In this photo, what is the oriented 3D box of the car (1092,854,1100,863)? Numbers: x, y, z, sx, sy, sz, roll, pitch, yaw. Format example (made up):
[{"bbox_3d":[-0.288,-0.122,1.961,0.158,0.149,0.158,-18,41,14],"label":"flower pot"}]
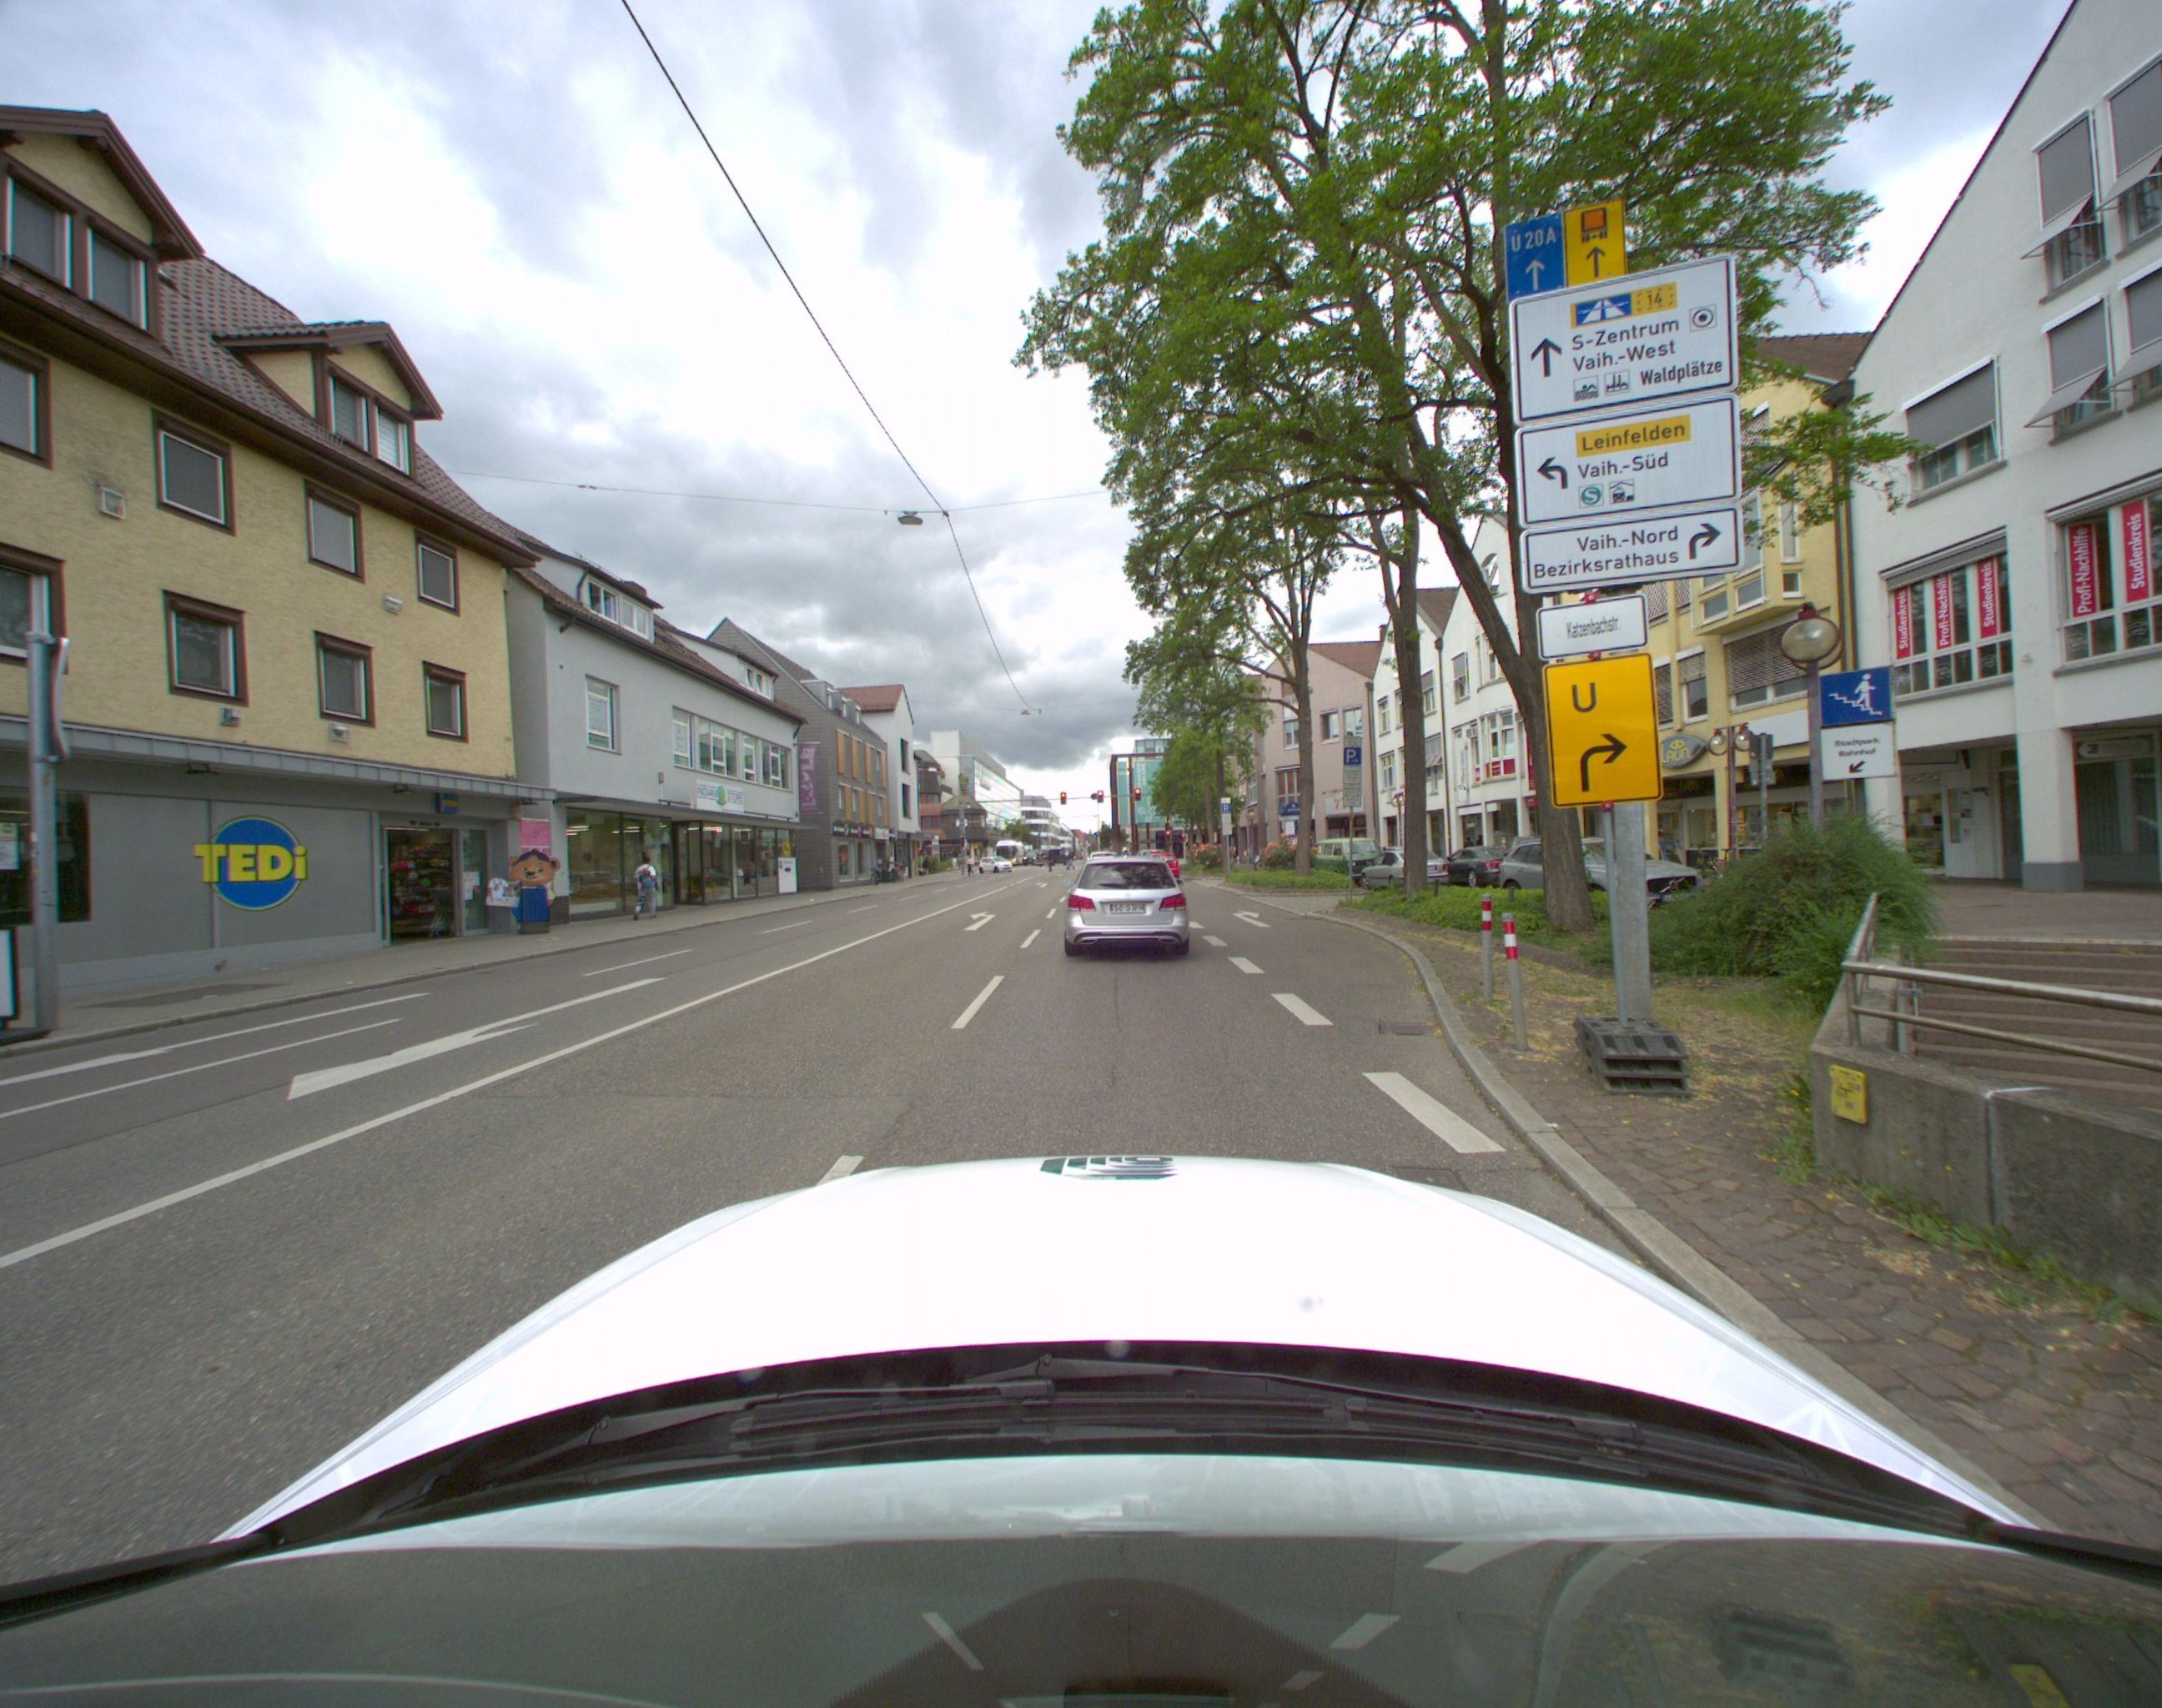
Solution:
[{"bbox_3d":[3.593,0.984,194.494,1.986,2.013,4.001,-2,0,1],"label":"car"}]

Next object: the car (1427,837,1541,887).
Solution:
[{"bbox_3d":[13.714,0.261,27.972,1.861,1.527,3.998,-2,0,-1],"label":"car"}]

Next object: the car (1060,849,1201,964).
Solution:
[{"bbox_3d":[0.663,0.711,13.048,1.868,1.506,3.999,-2,0,-1],"label":"car"}]

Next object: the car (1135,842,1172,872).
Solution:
[{"bbox_3d":[4.382,0.160,49.959,1.986,1.684,4.002,-2,0,2],"label":"car"}]

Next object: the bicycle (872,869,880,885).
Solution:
[{"bbox_3d":[-11.774,1.327,46.788,0.273,0.891,1.225,-2,0,-8],"label":"bicycle"}]

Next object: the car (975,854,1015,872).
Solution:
[{"bbox_3d":[-7.806,0.847,73.675,1.675,1.530,3.952,-2,0,-41],"label":"car"}]

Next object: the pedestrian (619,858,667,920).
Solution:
[{"bbox_3d":[-11.943,0.945,22.244,0.815,1.634,0.979,0,0,-4],"label":"pedestrian"}]

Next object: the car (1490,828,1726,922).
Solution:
[{"bbox_3d":[10.767,0.377,17.127,1.876,1.638,4.495,-2,0,-2],"label":"car"}]

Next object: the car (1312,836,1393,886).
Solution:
[{"bbox_3d":[10.987,0.273,33.247,1.861,1.864,3.998,-2,0,-1],"label":"car"}]

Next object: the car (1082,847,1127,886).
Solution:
[{"bbox_3d":[1.117,0.555,39.088,1.986,1.684,4.002,-2,0,2],"label":"car"}]

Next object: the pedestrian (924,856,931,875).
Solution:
[{"bbox_3d":[-13.715,1.044,72.825,0.586,1.670,0.639,1,1,-12],"label":"pedestrian"}]

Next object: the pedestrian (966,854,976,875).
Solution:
[{"bbox_3d":[-8.570,0.827,63.439,0.616,1.634,0.583,1,0,-24],"label":"pedestrian"}]

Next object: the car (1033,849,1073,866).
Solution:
[{"bbox_3d":[-3.258,0.378,96.044,1.974,1.823,4.956,-2,0,38],"label":"car"}]

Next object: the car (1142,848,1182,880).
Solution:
[{"bbox_3d":[4.240,0.511,43.123,1.748,1.521,4.001,-2,0,1],"label":"car"}]

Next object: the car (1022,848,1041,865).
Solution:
[{"bbox_3d":[-6.298,0.330,104.569,1.986,2.013,4.002,-2,0,2],"label":"car"}]

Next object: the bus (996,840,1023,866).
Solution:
[{"bbox_3d":[-9.267,-0.089,105.897,2.765,3.165,5.935,-2,0,2],"label":"bus"}]

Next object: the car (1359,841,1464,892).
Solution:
[{"bbox_3d":[11.147,0.395,27.764,1.861,1.527,3.998,-2,0,-1],"label":"car"}]

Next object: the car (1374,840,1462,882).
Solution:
[{"bbox_3d":[13.658,0.260,33.250,1.861,1.527,3.998,-2,0,-1],"label":"car"}]

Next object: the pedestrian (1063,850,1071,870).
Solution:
[{"bbox_3d":[-1.156,0.481,65.005,0.611,1.634,0.587,1,0,-2],"label":"pedestrian"}]

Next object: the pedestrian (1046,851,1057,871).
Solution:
[{"bbox_3d":[-2.378,0.569,66.147,0.831,1.634,0.587,1,0,-3],"label":"pedestrian"}]

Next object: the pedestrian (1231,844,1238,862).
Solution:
[{"bbox_3d":[14.290,-0.099,75.880,0.608,1.634,0.590,1,0,14],"label":"pedestrian"}]
